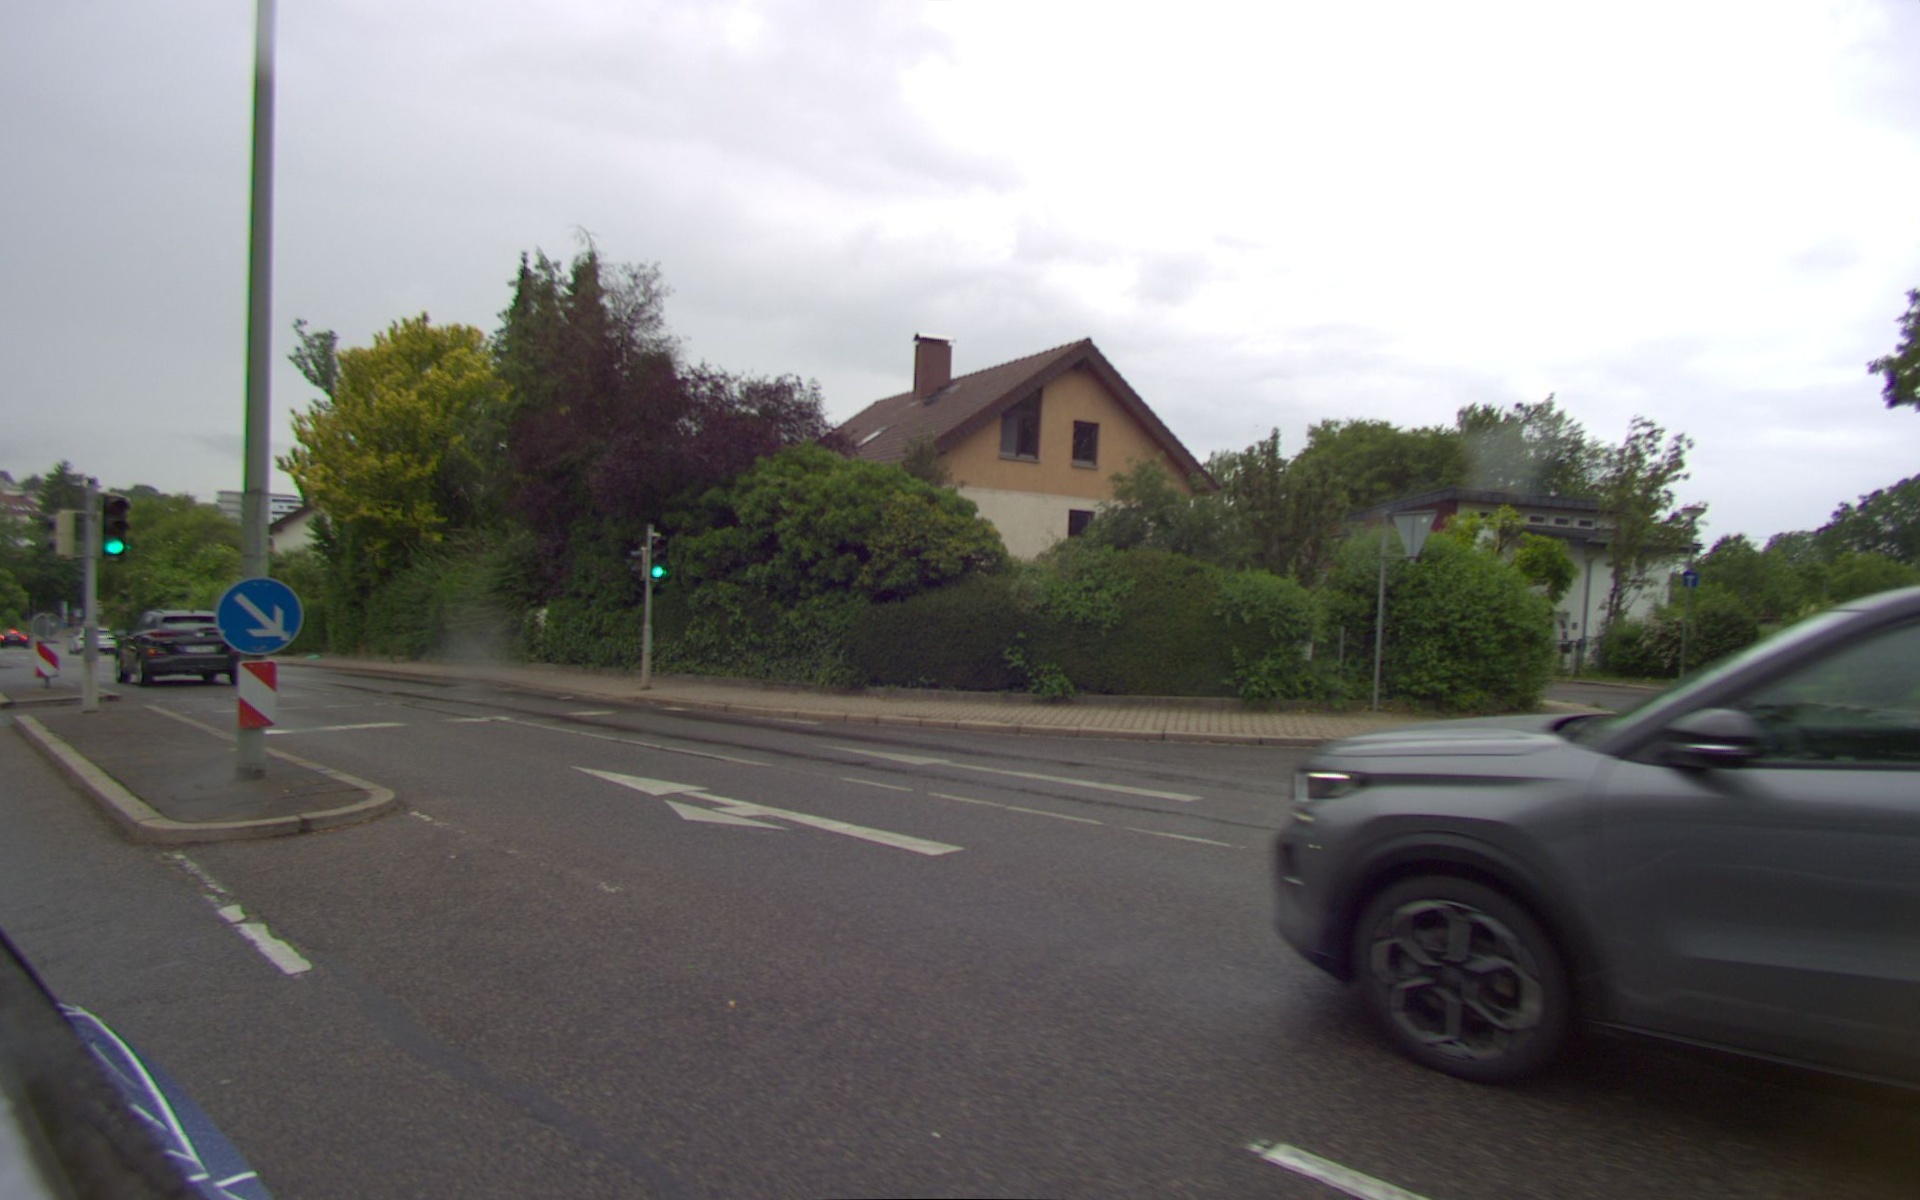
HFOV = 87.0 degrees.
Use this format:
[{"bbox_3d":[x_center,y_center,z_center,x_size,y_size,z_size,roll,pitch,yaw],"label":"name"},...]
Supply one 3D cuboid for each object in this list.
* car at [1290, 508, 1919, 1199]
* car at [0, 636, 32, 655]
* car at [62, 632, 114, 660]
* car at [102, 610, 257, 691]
[{"bbox_3d":[3.071,0.612,2.786,3.731,1.615,1.776,-1,-2,42],"label":"car"},{"bbox_3d":[-75.515,3.616,80.520,1.837,1.504,3.844,1,-2,-32],"label":"car"},{"bbox_3d":[-47.719,2.512,55.356,4.157,1.497,1.708,-2,-3,43],"label":"car"},{"bbox_3d":[-16.773,1.039,21.694,3.877,1.575,2.003,-1,-2,43],"label":"car"}]
